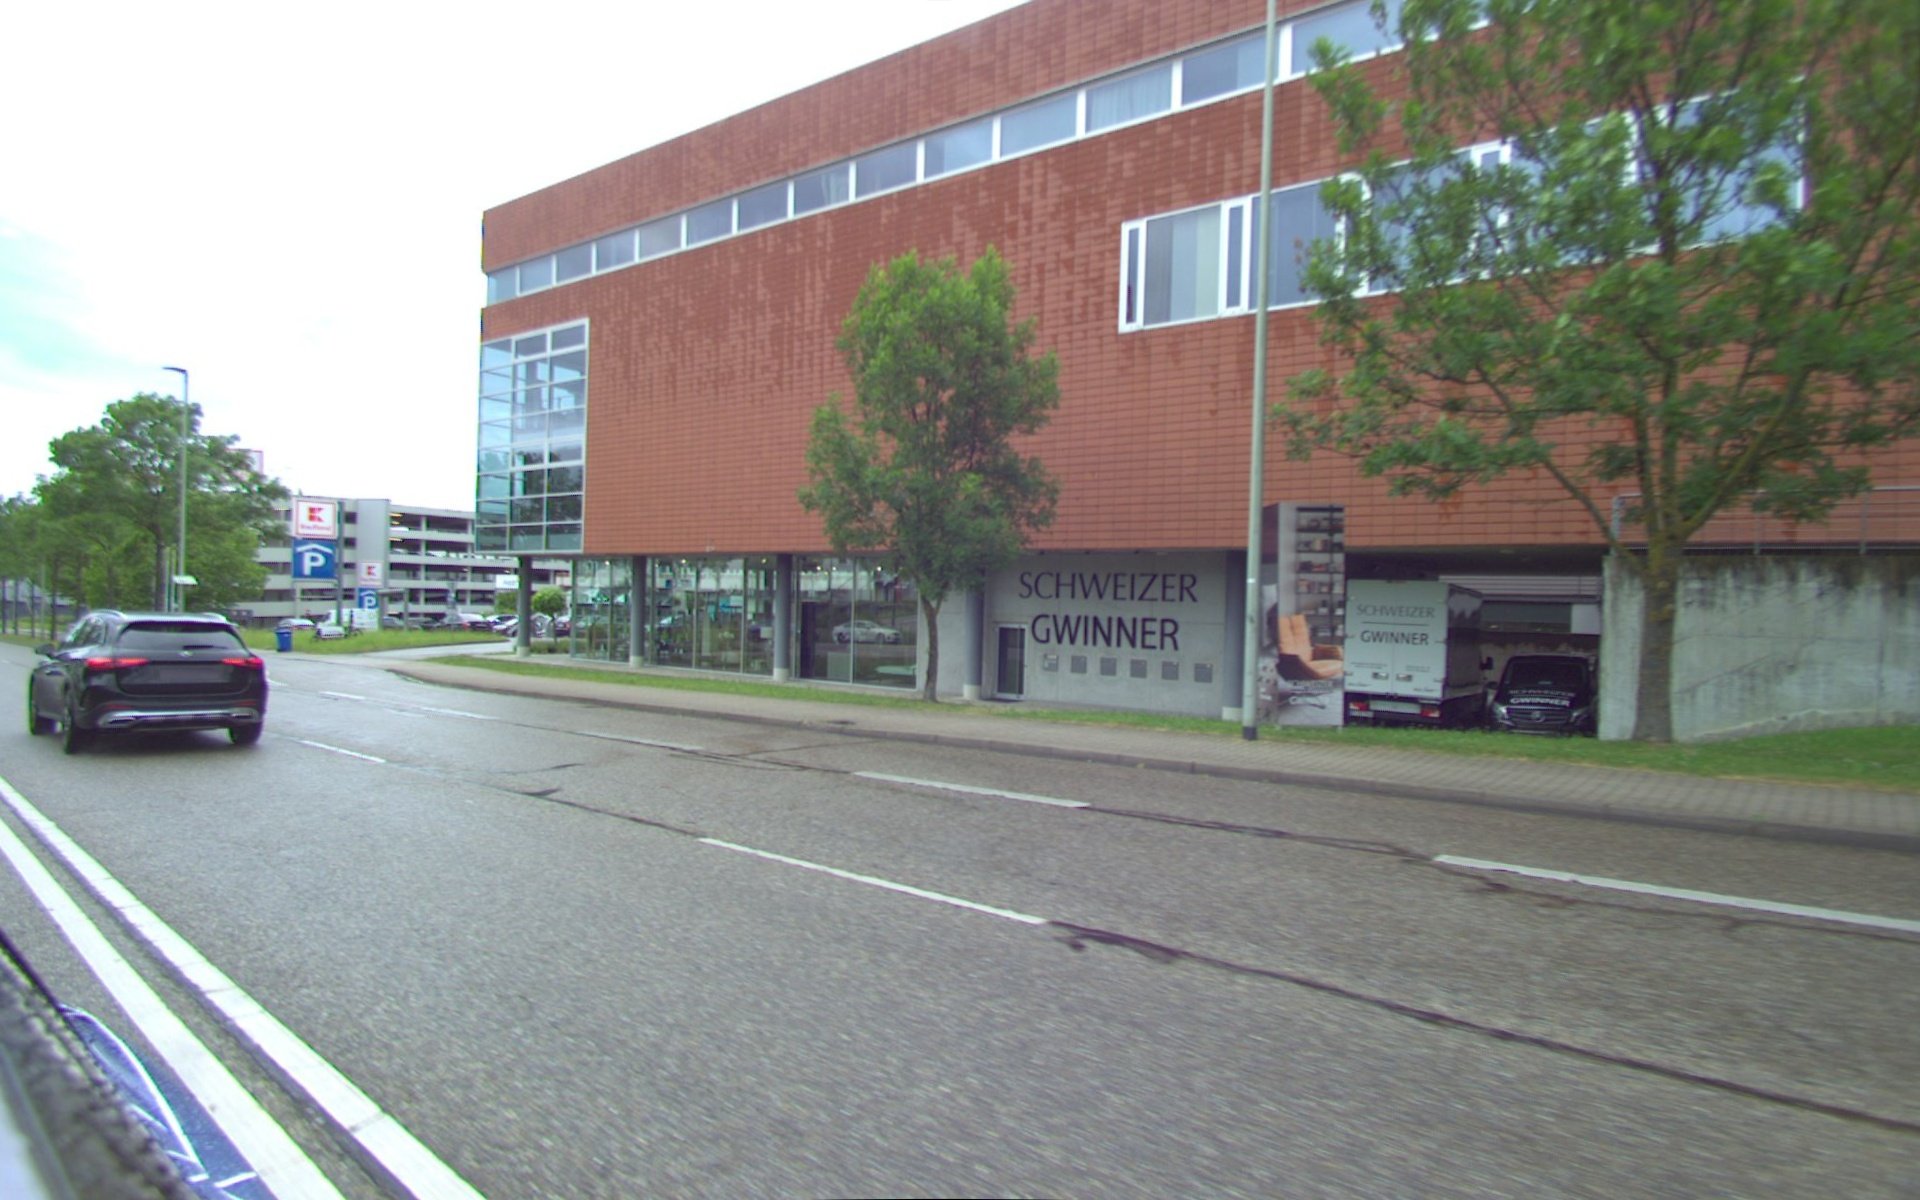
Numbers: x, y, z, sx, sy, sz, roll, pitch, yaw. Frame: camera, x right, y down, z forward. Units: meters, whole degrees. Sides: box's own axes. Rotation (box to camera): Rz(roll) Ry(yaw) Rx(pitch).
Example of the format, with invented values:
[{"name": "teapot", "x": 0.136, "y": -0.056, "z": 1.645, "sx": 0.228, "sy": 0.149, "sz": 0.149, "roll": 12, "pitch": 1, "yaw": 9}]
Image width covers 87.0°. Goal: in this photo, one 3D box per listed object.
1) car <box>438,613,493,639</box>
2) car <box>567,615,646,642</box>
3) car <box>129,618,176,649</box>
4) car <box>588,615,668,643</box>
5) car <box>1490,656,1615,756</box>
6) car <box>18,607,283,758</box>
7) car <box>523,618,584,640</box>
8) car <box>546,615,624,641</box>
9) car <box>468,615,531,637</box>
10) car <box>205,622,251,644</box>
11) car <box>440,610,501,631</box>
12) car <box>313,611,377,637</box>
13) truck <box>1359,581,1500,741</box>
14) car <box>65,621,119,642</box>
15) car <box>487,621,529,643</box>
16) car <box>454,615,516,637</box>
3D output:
[{"name": "car", "x": -26.948, "y": 1.385, "z": 55.091, "sx": 3.449, "sy": 1.293, "sz": 1.490, "roll": 0, "pitch": 0, "yaw": 41}, {"name": "car", "x": -22.045, "y": 1.773, "z": 63.218, "sx": 1.832, "sy": 1.630, "sz": 4.381, "roll": -1, "pitch": -2, "yaw": 38}, {"name": "car", "x": -46.347, "y": 1.890, "z": 58.061, "sx": 1.807, "sy": 1.630, "sz": 4.004, "roll": -1, "pitch": 0, "yaw": -43}, {"name": "car", "x": -20.196, "y": 1.747, "z": 61.681, "sx": 1.832, "sy": 1.630, "sz": 4.381, "roll": -1, "pitch": -2, "yaw": 38}, {"name": "car", "x": 12.414, "y": 2.106, "z": 21.095, "sx": 1.679, "sy": 1.763, "sz": 4.001, "roll": -1, "pitch": -2, "yaw": 38}, {"name": "car", "x": -10.325, "y": 0.941, "z": 12.794, "sx": 4.318, "sy": 1.589, "sz": 1.839, "roll": -1, "pitch": -3, "yaw": 41}, {"name": "car", "x": -29.983, "y": 2.118, "z": 74.796, "sx": 1.677, "sy": 1.611, "sz": 3.955, "roll": -1, "pitch": -2, "yaw": 33}, {"name": "car", "x": -24.025, "y": 1.779, "z": 64.878, "sx": 1.832, "sy": 1.630, "sz": 4.381, "roll": -1, "pitch": -2, "yaw": 38}, {"name": "car", "x": -35.120, "y": 1.999, "z": 77.217, "sx": 1.833, "sy": 1.630, "sz": 4.008, "roll": -1, "pitch": -2, "yaw": 41}, {"name": "car", "x": -55.355, "y": 2.470, "z": 76.543, "sx": 4.058, "sy": 1.630, "sz": 1.810, "roll": -1, "pitch": -2, "yaw": 39}, {"name": "car", "x": -38.897, "y": 1.672, "z": 80.450, "sx": 1.833, "sy": 1.630, "sz": 4.008, "roll": -1, "pitch": -2, "yaw": 41}, {"name": "car", "x": -39.436, "y": 1.527, "z": 64.868, "sx": 4.427, "sy": 1.630, "sz": 1.813, "roll": -1, "pitch": -2, "yaw": 34}, {"name": "truck", "x": 11.369, "y": 1.360, "z": 24.220, "sx": 2.020, "sy": 3.333, "sz": 6.081, "roll": 0, "pitch": -2, "yaw": 35}, {"name": "car", "x": -78.634, "y": 2.861, "z": 91.706, "sx": 1.821, "sy": 1.864, "sz": 4.007, "roll": 0, "pitch": -2, "yaw": -9}, {"name": "car", "x": -30.634, "y": 2.146, "z": 68.504, "sx": 3.497, "sy": 1.433, "sz": 1.419, "roll": -1, "pitch": -2, "yaw": 44}, {"name": "car", "x": -36.921, "y": 2.015, "z": 78.725, "sx": 1.833, "sy": 1.630, "sz": 4.008, "roll": -1, "pitch": -2, "yaw": 41}]
